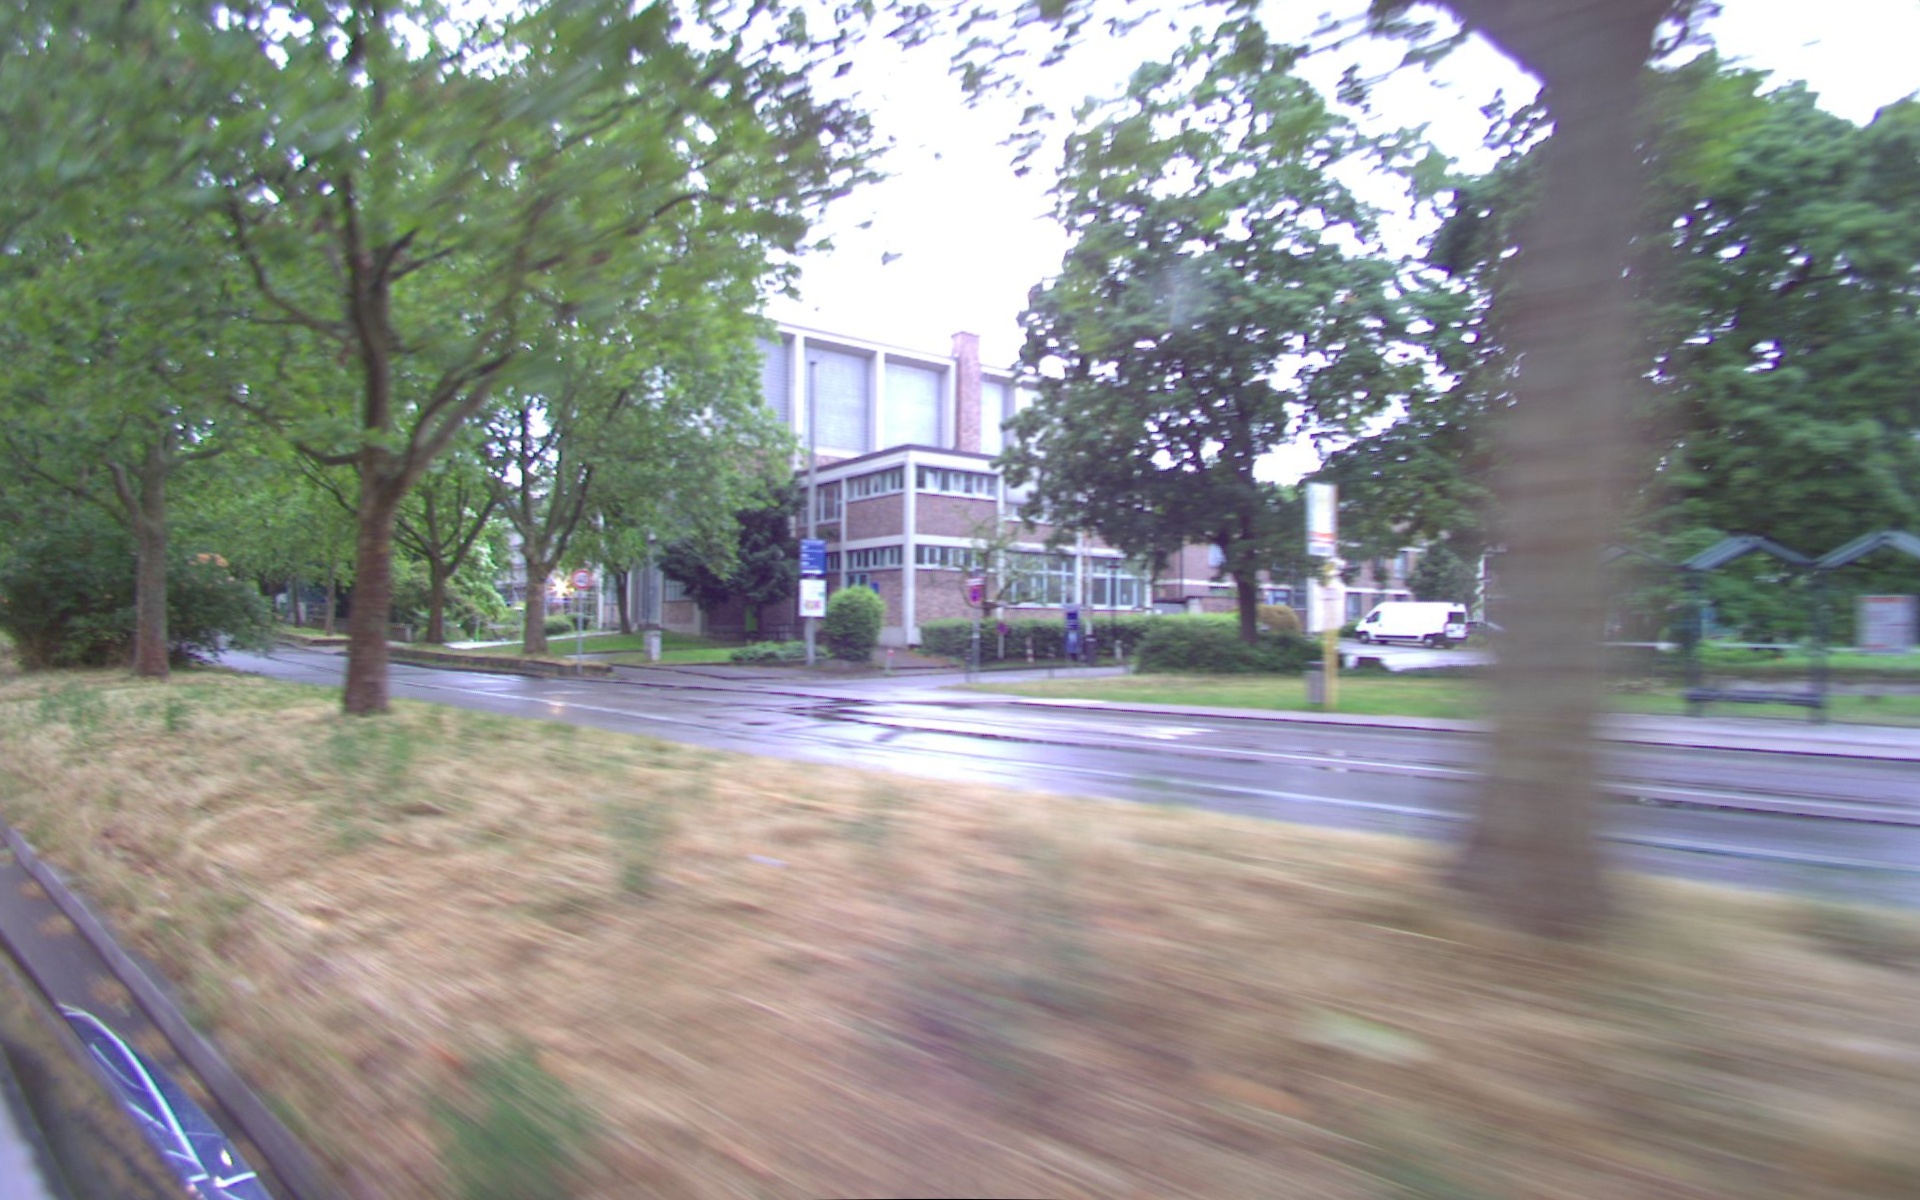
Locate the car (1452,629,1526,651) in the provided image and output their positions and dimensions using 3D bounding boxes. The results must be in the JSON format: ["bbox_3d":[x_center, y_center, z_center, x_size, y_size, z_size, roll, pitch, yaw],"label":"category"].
[{"bbox_3d":[31.625,2.380,60.564,1.662,1.151,3.565,0,0,-36],"label":"car"}]

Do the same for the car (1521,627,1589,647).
[{"bbox_3d":[39.172,2.399,66.686,1.566,1.151,3.565,0,0,-36],"label":"car"}]

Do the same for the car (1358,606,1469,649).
[{"bbox_3d":[25.568,1.514,57.229,2.080,2.229,5.483,0,0,-32],"label":"car"}]

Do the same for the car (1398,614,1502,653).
[{"bbox_3d":[28.711,1.907,59.434,2.250,2.037,5.091,0,0,-35],"label":"car"}]

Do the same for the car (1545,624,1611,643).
[{"bbox_3d":[42.676,2.297,69.979,1.566,1.151,3.564,0,0,-36],"label":"car"}]

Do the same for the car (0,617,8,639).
[{"bbox_3d":[-83.283,2.404,87.030,1.856,1.890,4.748,-1,0,-41],"label":"car"}]

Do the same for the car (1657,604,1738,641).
[{"bbox_3d":[61.335,1.792,84.177,6.358,2.838,3.608,0,0,-35],"label":"car"}]
